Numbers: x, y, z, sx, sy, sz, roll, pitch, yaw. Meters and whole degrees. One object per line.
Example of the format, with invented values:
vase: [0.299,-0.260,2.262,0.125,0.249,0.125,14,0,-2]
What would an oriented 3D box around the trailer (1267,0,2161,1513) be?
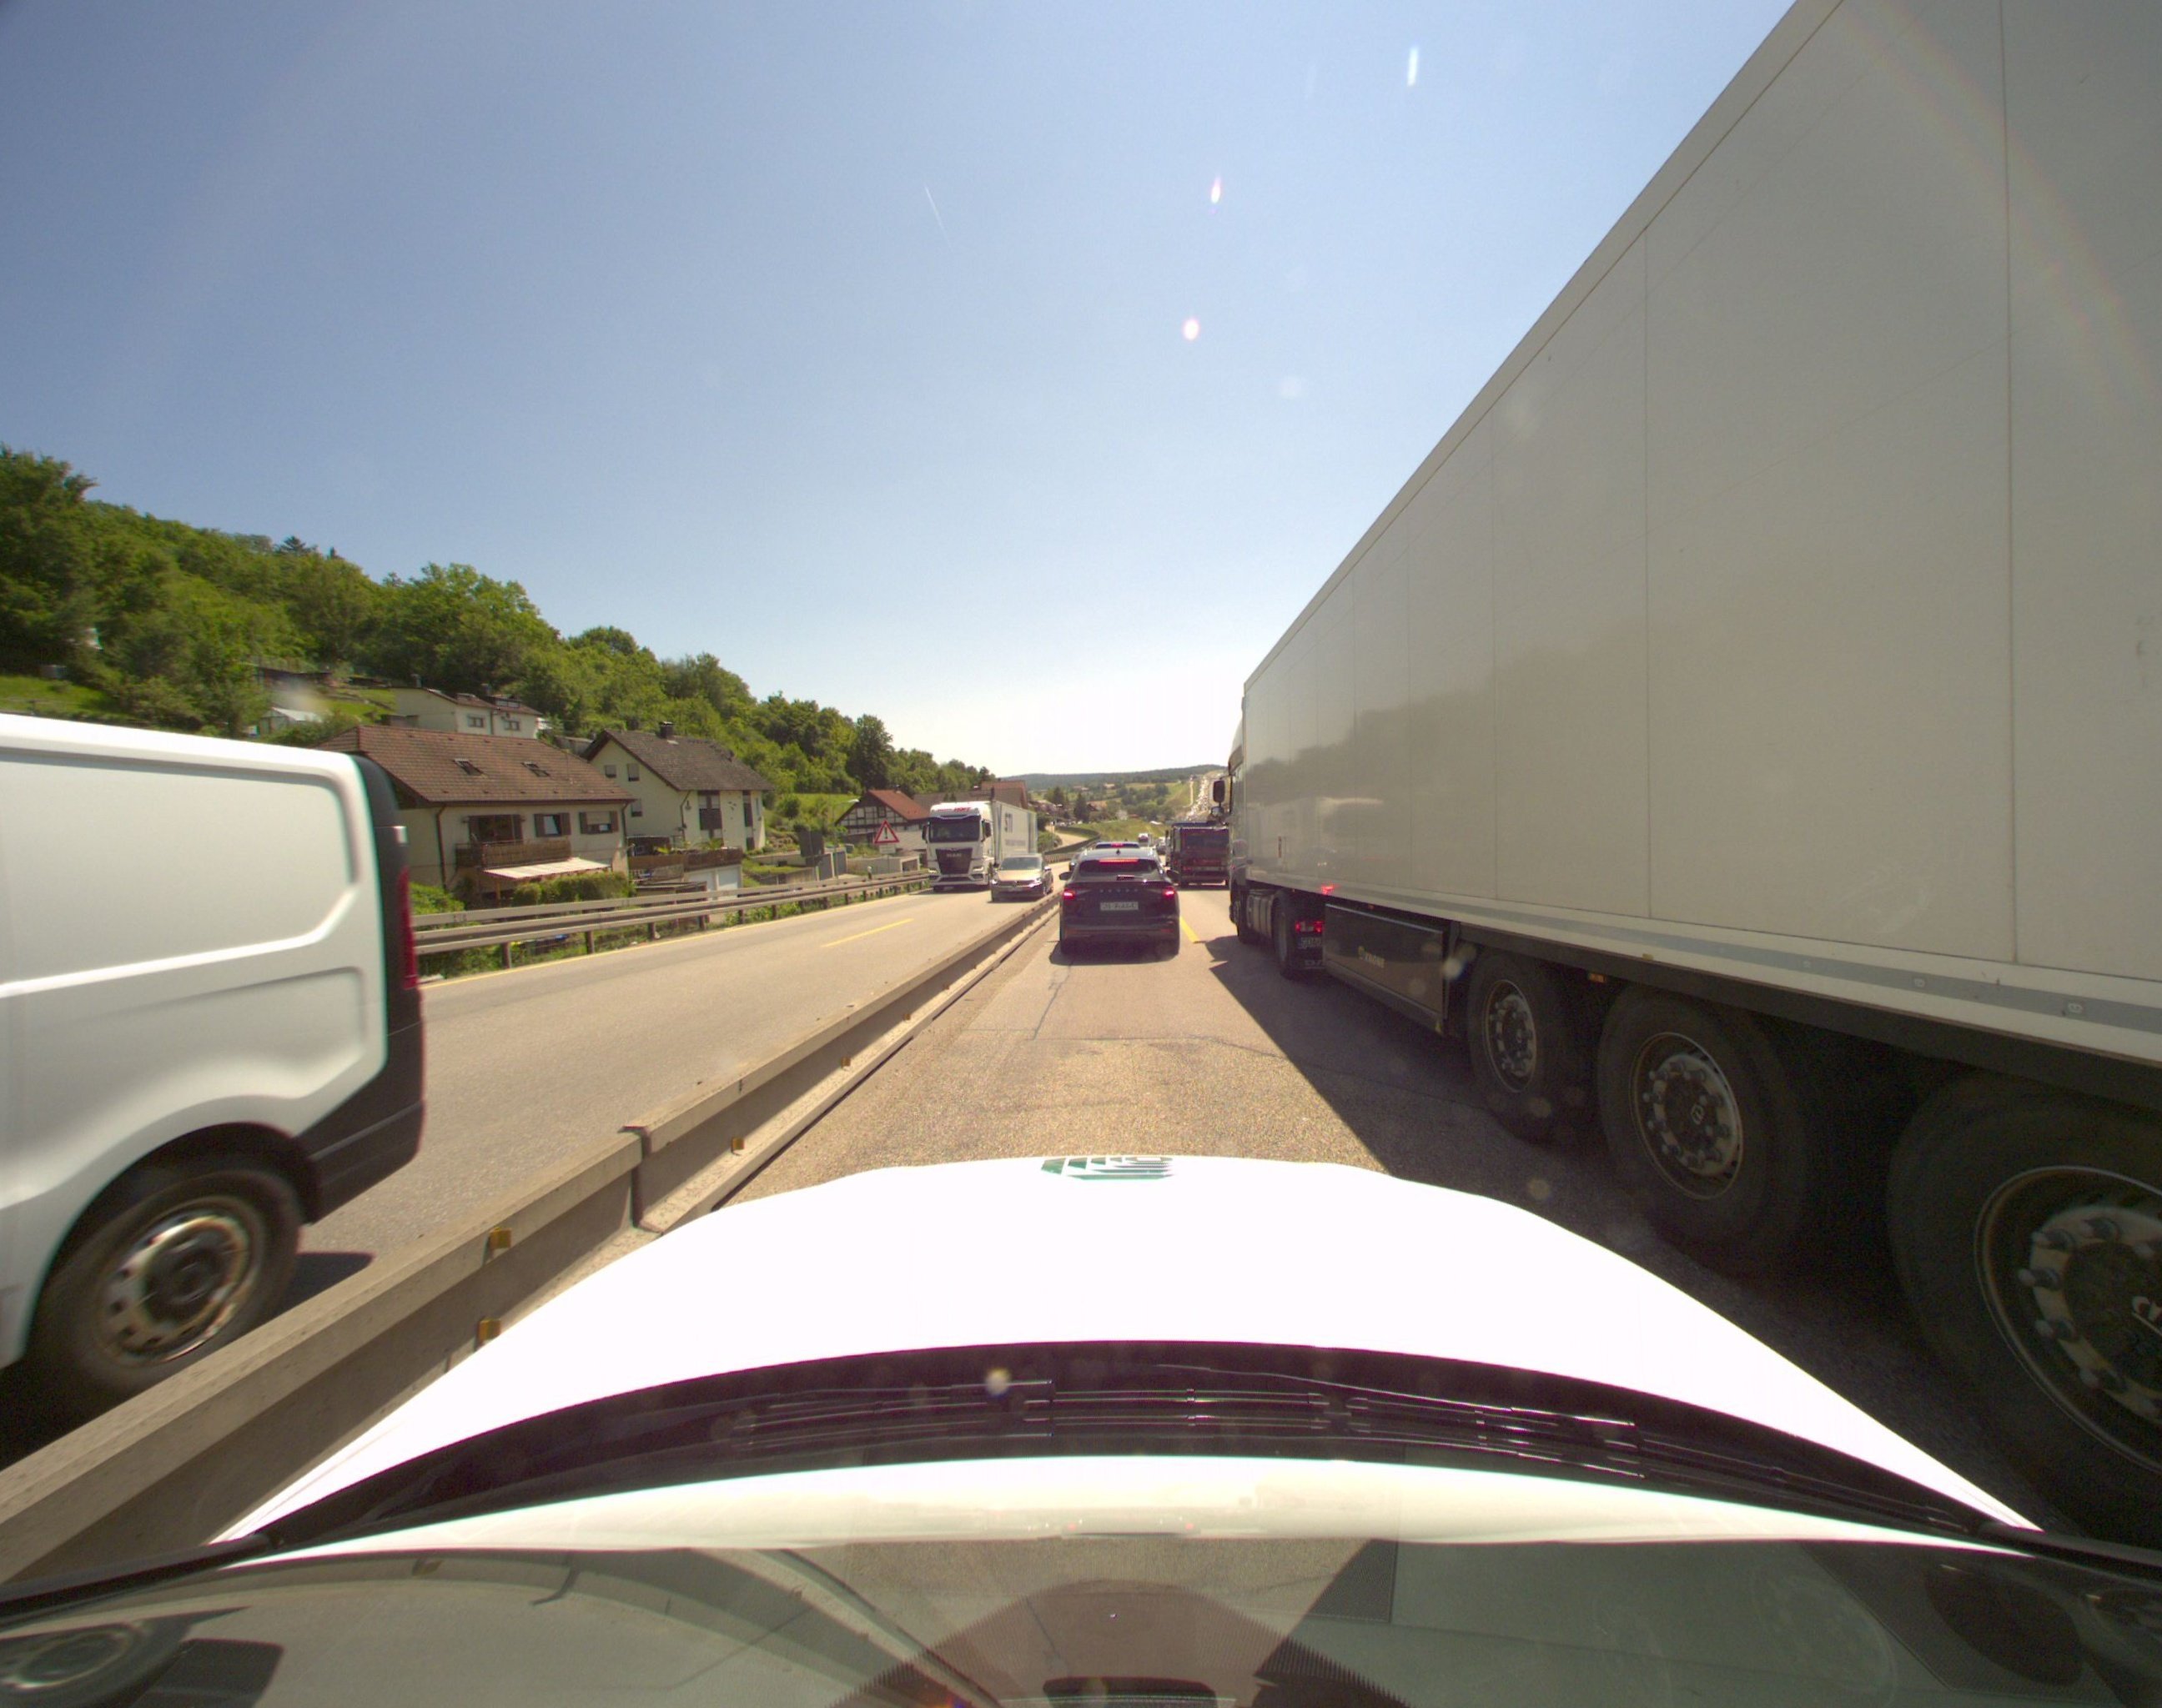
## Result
trailer: [3.361,-0.824,4.289,2.522,4.127,11.553,0,-1,2]

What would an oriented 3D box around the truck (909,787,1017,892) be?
truck: [-5.259,-0.588,38.135,3.288,4.362,8.310,0,-1,4]

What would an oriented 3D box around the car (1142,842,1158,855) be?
car: [8.385,-0.647,98.883,1.984,1.585,3.841,0,-1,5]

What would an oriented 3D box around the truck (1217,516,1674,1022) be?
truck: [3.584,-0.649,10.613,2.503,4.025,8.241,0,-1,2]

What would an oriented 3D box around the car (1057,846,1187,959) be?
car: [0.590,0.700,13.469,1.836,1.586,3.907,0,-1,0]

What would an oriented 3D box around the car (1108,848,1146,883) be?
car: [2.276,0.522,41.248,1.701,1.622,4.000,0,1,0]

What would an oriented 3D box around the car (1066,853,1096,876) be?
car: [0.055,0.732,56.599,1.783,1.453,4.639,-2,-1,3]

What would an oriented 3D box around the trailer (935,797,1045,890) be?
trailer: [-4.603,-0.429,45.350,3.236,4.378,14.079,0,0,5]

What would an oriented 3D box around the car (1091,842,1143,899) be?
car: [1.207,0.517,28.854,1.701,1.881,4.000,0,1,0]

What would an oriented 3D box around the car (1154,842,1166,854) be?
car: [11.858,-0.887,121.898,1.691,1.728,3.845,0,-1,8]

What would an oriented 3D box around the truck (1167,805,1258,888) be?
truck: [5.750,-0.236,37.920,3.180,3.191,12.824,-1,0,5]

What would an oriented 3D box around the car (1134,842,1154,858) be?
car: [6.482,-0.349,83.809,1.984,1.585,3.841,0,-1,5]

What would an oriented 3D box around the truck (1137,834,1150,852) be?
truck: [15.116,-2.622,197.258,2.737,4.283,4.967,0,1,7]

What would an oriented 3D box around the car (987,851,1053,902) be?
car: [-2.003,0.736,27.935,1.839,1.574,4.001,-1,-1,1]

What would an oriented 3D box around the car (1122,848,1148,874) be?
car: [3.704,0.445,55.504,1.699,1.622,4.004,0,1,4]

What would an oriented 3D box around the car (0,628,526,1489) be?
car: [-3.550,0.494,1.198,1.986,2.011,4.859,-2,-1,1]
